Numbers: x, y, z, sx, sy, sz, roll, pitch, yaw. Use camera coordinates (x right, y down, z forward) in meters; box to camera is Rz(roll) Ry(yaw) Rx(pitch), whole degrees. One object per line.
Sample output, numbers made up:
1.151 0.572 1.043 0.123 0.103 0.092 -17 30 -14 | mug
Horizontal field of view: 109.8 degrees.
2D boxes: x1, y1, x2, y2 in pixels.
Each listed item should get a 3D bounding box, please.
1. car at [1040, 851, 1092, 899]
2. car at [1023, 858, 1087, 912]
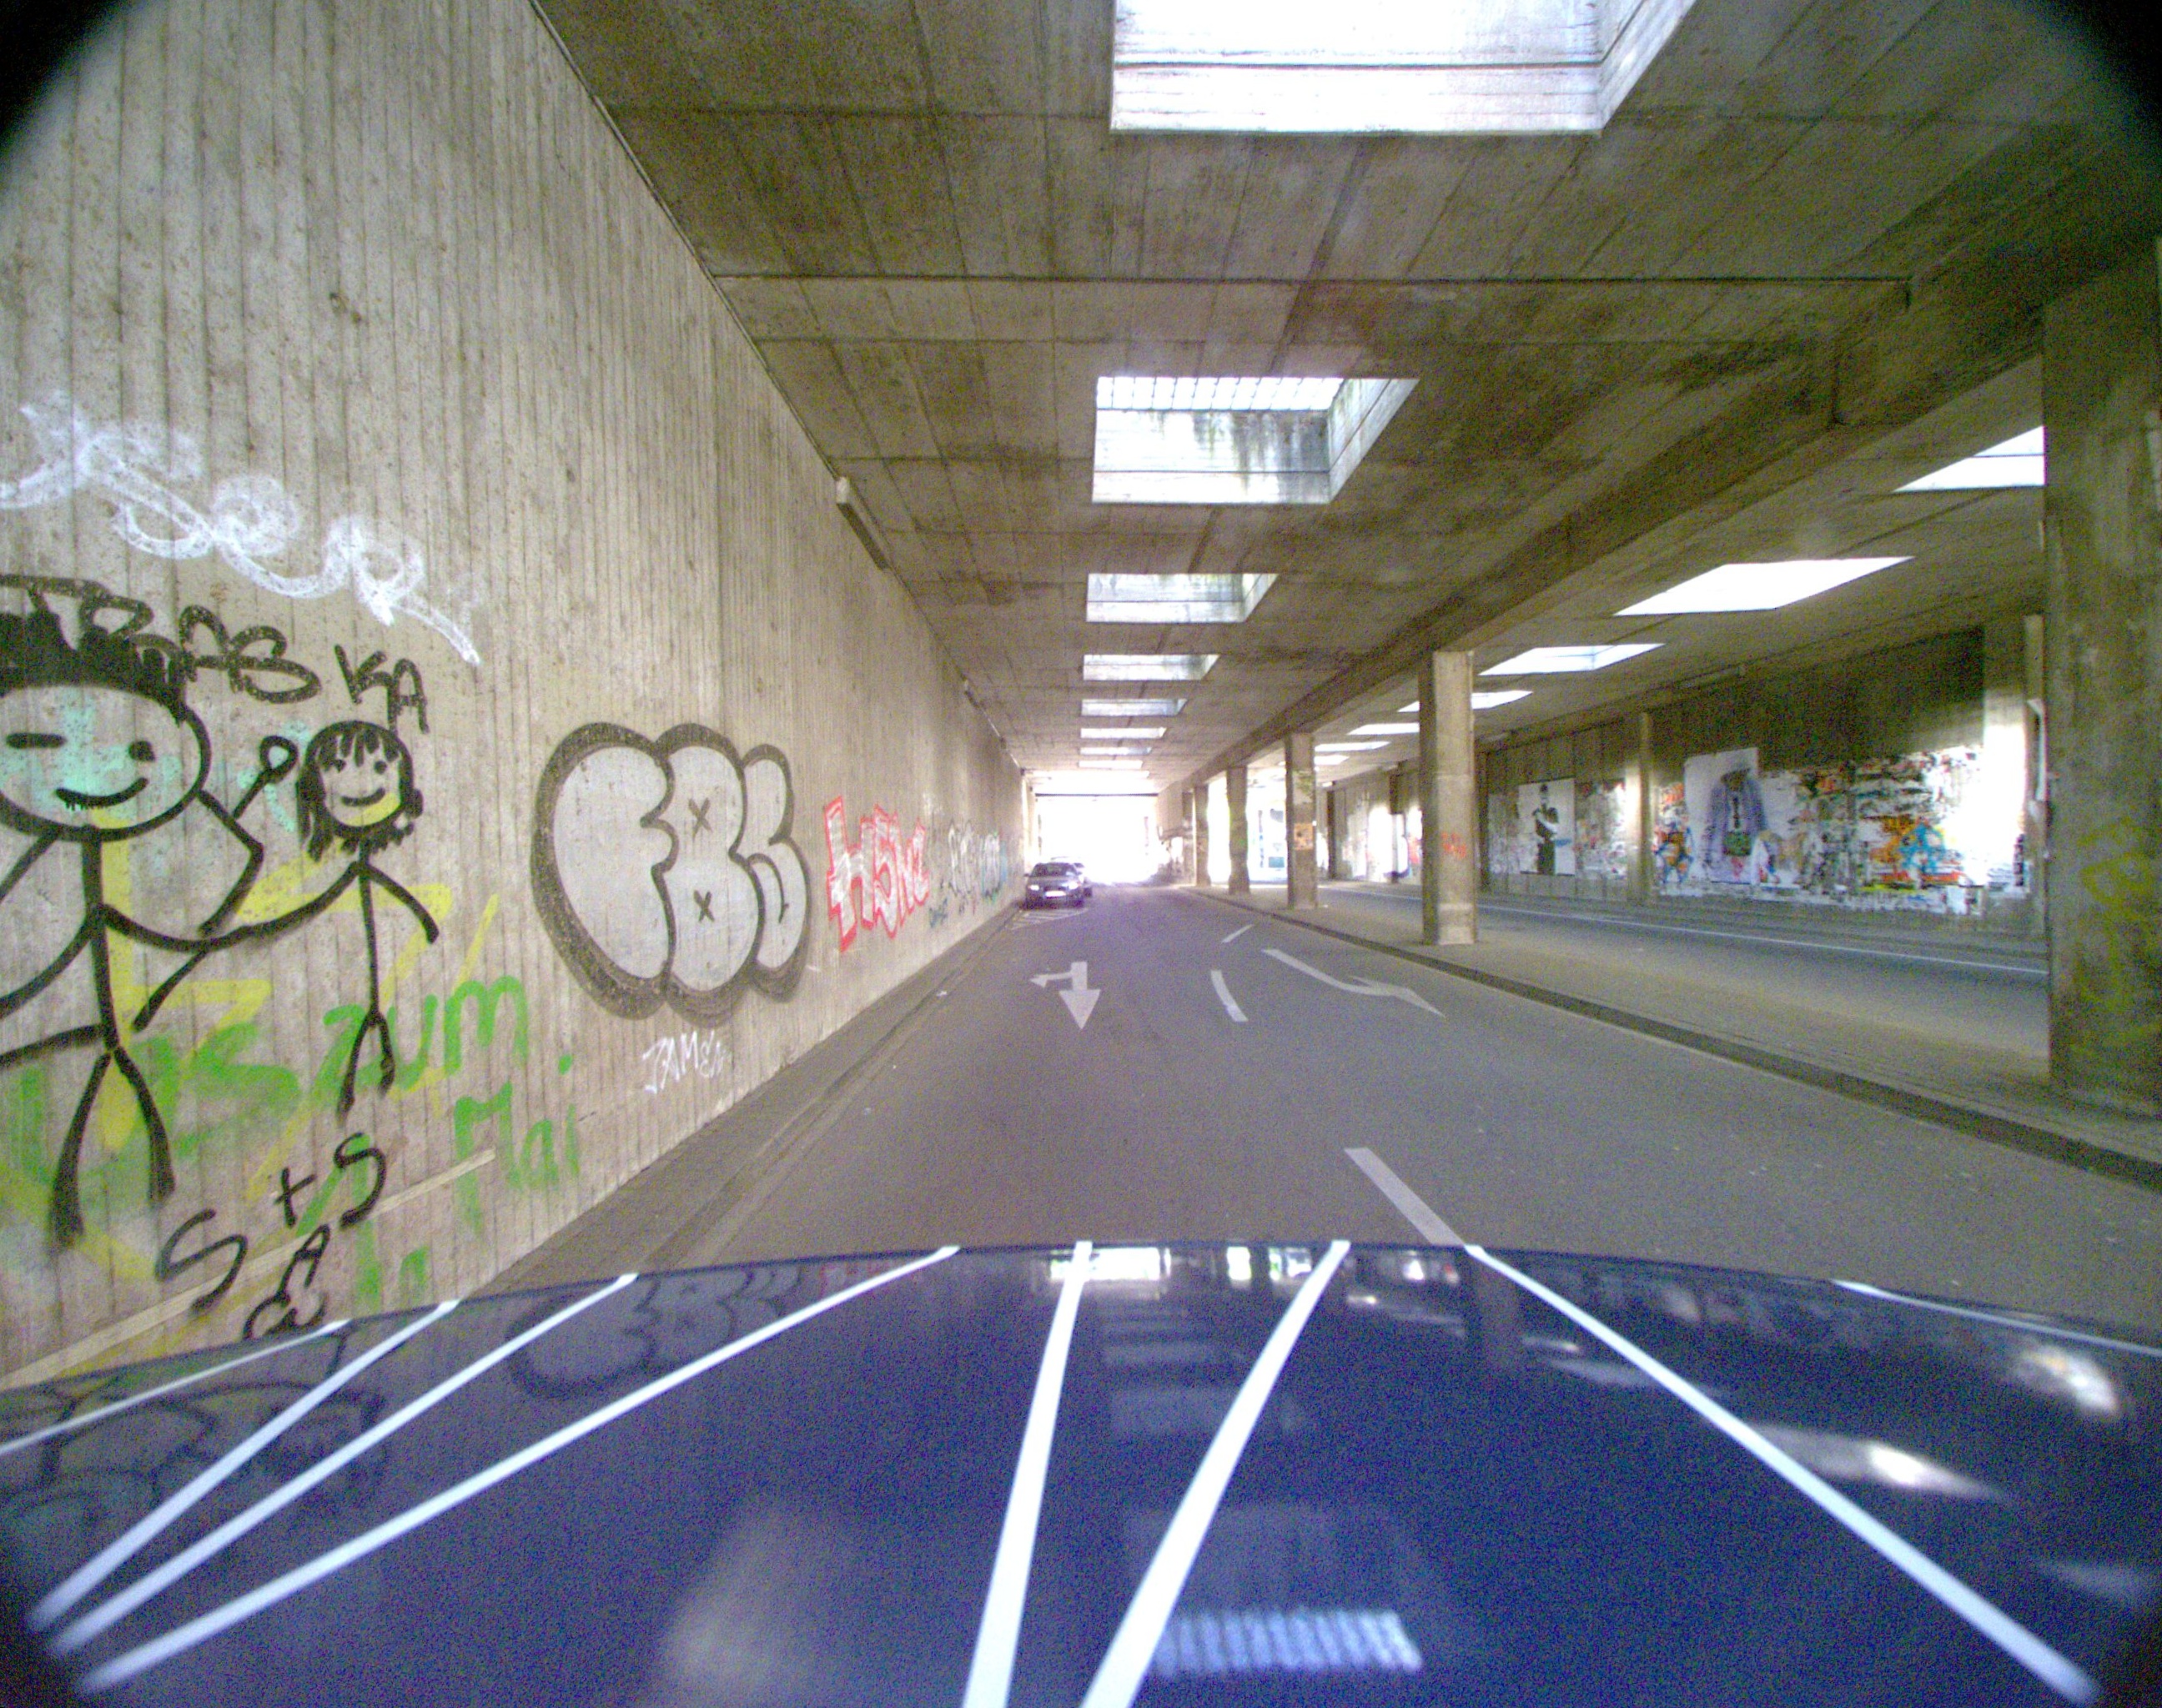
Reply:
-0.532 0.761 29.787 1.861 1.709 4.000 -2 0 1 | car
-0.735 0.913 24.060 1.808 1.460 4.000 -2 0 1 | car
